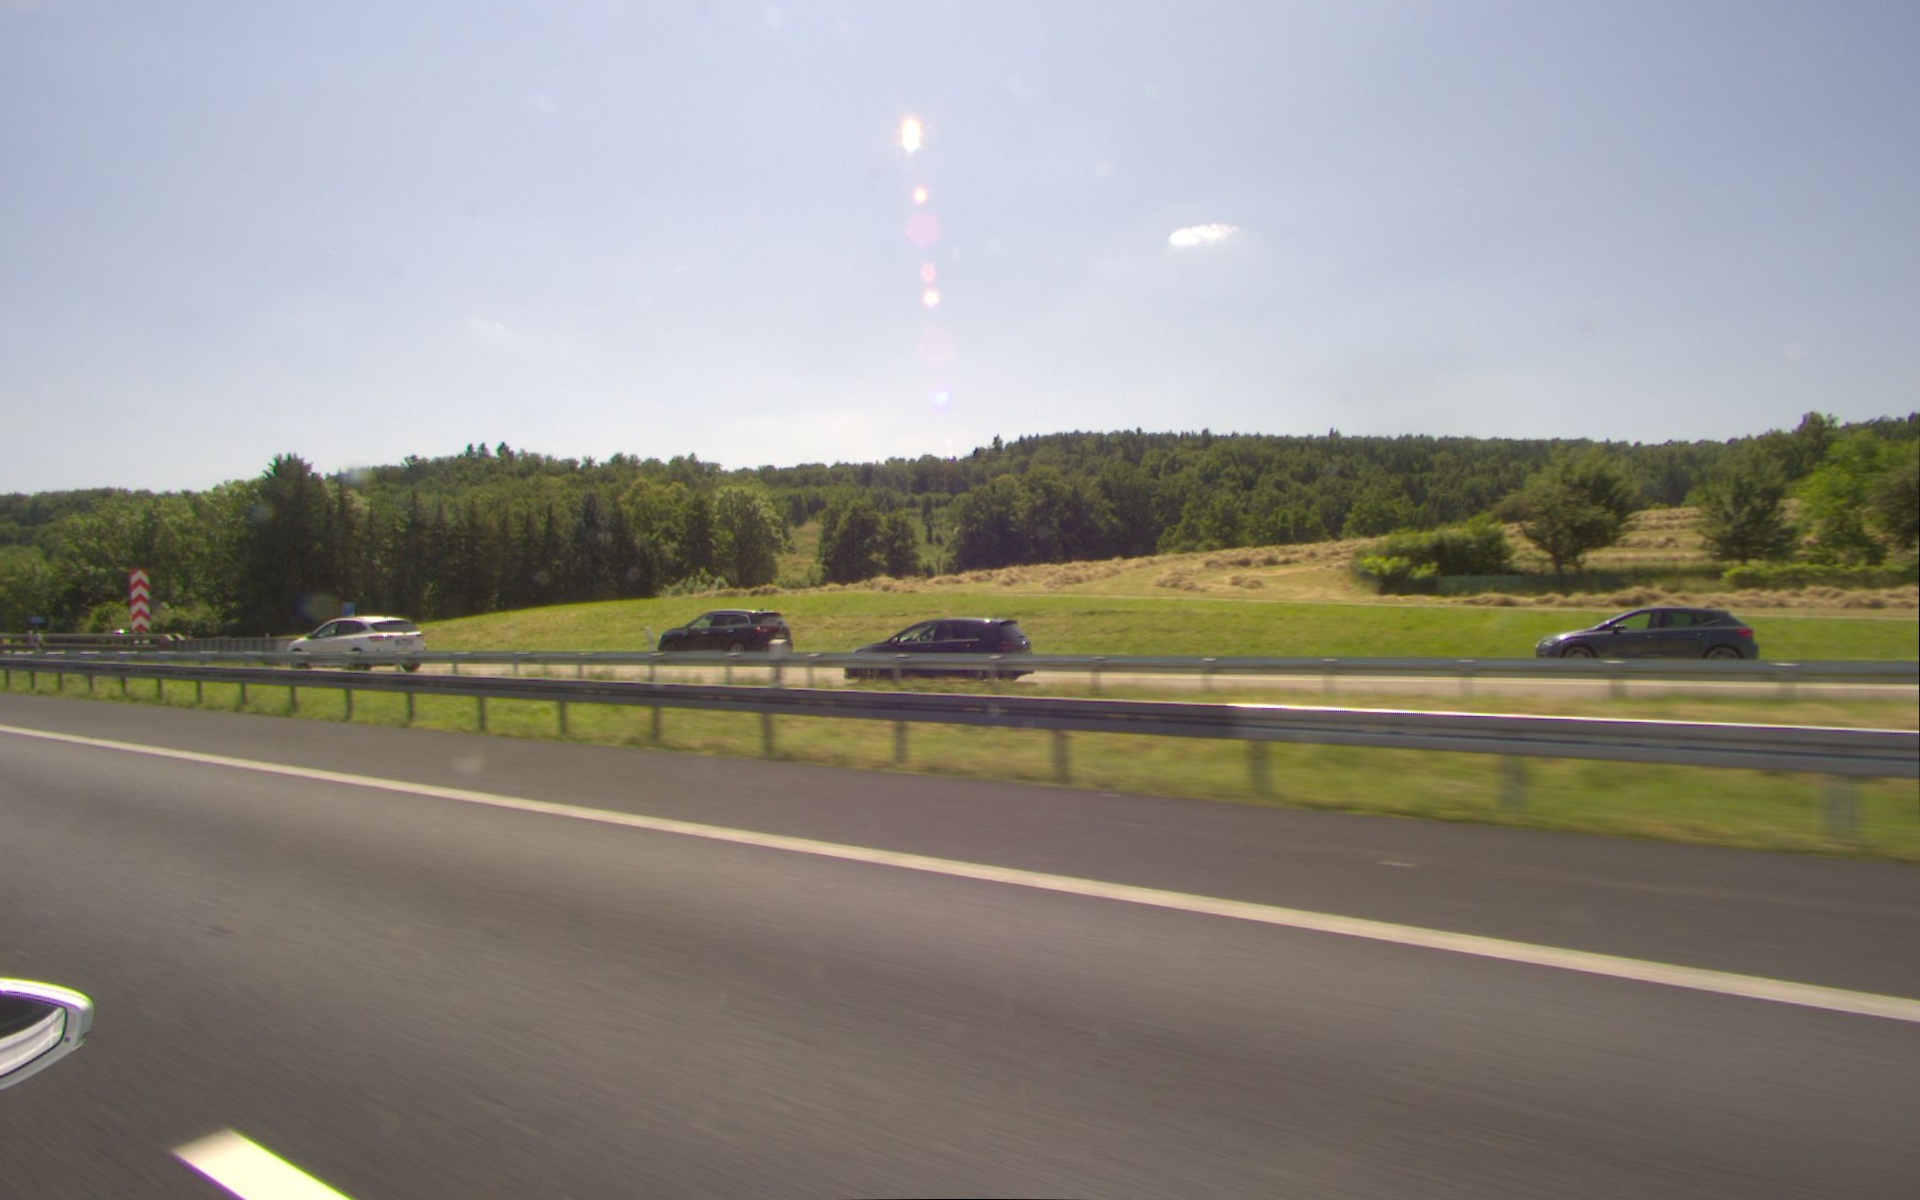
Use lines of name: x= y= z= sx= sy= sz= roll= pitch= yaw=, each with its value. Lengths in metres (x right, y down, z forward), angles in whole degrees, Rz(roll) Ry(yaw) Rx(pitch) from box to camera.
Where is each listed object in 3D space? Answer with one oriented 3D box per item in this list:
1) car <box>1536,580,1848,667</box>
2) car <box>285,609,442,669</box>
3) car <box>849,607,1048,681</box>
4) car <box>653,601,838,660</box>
car: x=15.401 y=0.548 z=21.531 sx=5.149 sy=1.683 sz=1.992 roll=-1 pitch=-2 yaw=29
car: x=-17.984 y=1.178 z=30.188 sx=4.396 sy=1.683 sz=1.994 roll=-1 pitch=-2 yaw=26
car: x=-0.258 y=0.948 z=21.535 sx=3.902 sy=1.453 sz=1.795 roll=-1 pitch=-2 yaw=26
car: x=-6.641 y=0.975 z=30.935 sx=5.535 sy=1.683 sz=1.994 roll=-1 pitch=-2 yaw=25
